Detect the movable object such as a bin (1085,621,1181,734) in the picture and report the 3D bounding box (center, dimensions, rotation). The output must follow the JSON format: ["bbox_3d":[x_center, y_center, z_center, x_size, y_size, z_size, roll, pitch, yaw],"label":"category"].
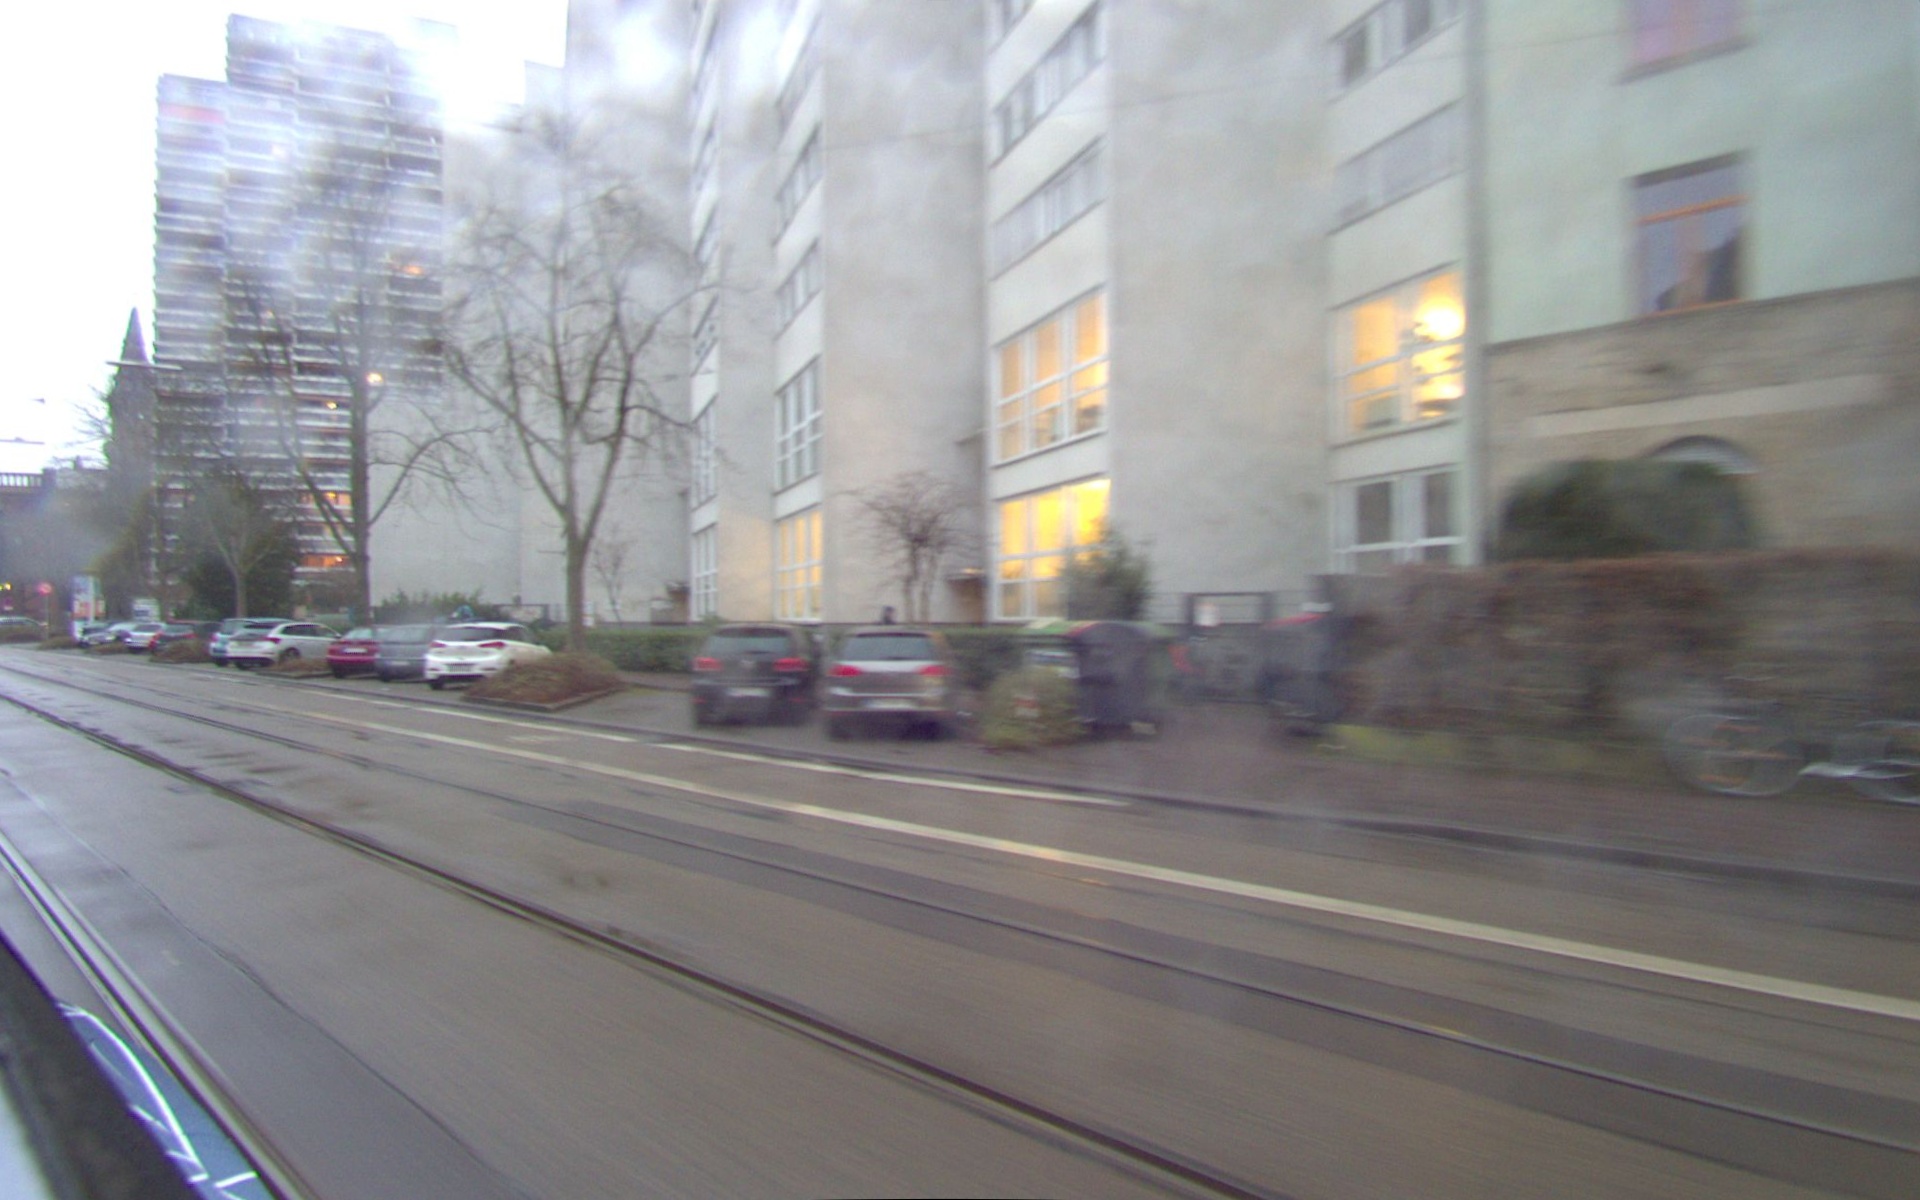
[{"bbox_3d":[2.378,1.028,13.816,1.103,1.461,1.085,-1,-2,20],"label":"movable object such as a bin"}]

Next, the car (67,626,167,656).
[{"bbox_3d":[-43.055,2.086,51.821,1.829,1.474,4.000,0,-2,-1],"label":"car"}]

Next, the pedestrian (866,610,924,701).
[{"bbox_3d":[-1.254,1.049,19.400,0.972,1.690,0.590,-2,-3,41],"label":"pedestrian"}]

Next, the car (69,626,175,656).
[{"bbox_3d":[-40.422,1.960,48.952,1.829,1.389,4.000,0,-2,-1],"label":"car"}]

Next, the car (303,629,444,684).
[{"bbox_3d":[-15.813,1.507,27.555,1.722,1.362,4.354,1,-2,-7],"label":"car"}]

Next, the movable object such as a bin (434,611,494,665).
[{"bbox_3d":[-17.785,1.367,36.289,1.317,1.874,1.553,-4,-4,42],"label":"movable object such as a bin"}]

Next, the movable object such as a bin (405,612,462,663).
[{"bbox_3d":[-19.859,1.424,38.181,1.317,1.874,1.553,-4,-4,42],"label":"movable object such as a bin"}]

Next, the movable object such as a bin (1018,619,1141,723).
[{"bbox_3d":[1.778,1.027,15.149,1.247,1.461,1.327,2,-3,-42],"label":"movable object such as a bin"}]

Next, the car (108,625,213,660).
[{"bbox_3d":[-35.531,1.891,45.111,1.765,1.457,4.004,0,-2,-5],"label":"car"}]

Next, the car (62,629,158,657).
[{"bbox_3d":[-45.317,2.301,54.084,1.829,1.410,4.000,0,-2,-1],"label":"car"}]

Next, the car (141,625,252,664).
[{"bbox_3d":[-30.636,1.784,40.755,1.671,1.504,3.856,0,-2,-3],"label":"car"}]

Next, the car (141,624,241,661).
[{"bbox_3d":[-33.049,1.817,43.615,1.705,1.504,3.451,0,-2,-1],"label":"car"}]

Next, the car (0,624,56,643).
[{"bbox_3d":[-75.697,2.681,81.776,3.939,1.497,1.673,2,-3,-43],"label":"car"}]

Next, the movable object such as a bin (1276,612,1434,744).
[{"bbox_3d":[4.742,0.895,12.166,1.247,1.461,1.327,2,-3,-42],"label":"movable object such as a bin"}]

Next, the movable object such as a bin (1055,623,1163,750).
[{"bbox_3d":[1.862,1.031,12.510,1.103,1.461,1.259,-1,-2,19],"label":"movable object such as a bin"}]

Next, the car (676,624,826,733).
[{"bbox_3d":[-3.137,1.133,15.924,1.804,1.482,4.003,0,-2,-4],"label":"car"}]

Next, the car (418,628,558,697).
[{"bbox_3d":[-10.757,1.396,23.356,1.710,1.434,3.856,0,-2,-5],"label":"car"}]

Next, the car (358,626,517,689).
[{"bbox_3d":[-13.340,1.437,26.111,1.715,1.474,3.992,1,-2,6],"label":"car"}]

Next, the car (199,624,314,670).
[{"bbox_3d":[-25.434,1.681,36.742,1.668,1.563,3.879,0,-2,-4],"label":"car"}]

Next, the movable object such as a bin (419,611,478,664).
[{"bbox_3d":[-18.818,1.382,37.249,1.393,1.874,1.553,-4,-4,42],"label":"movable object such as a bin"}]

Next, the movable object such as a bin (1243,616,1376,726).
[{"bbox_3d":[4.957,0.975,14.373,1.247,1.461,1.327,2,-3,-42],"label":"movable object such as a bin"}]

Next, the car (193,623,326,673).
[{"bbox_3d":[-23.155,1.577,33.651,1.712,1.575,4.000,0,-2,-1],"label":"car"}]

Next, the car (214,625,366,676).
[{"bbox_3d":[-20.740,1.556,31.541,1.716,1.455,3.990,1,-2,8],"label":"car"}]

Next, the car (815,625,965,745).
[{"bbox_3d":[-0.921,1.107,14.293,1.822,1.439,4.001,0,-2,-2],"label":"car"}]

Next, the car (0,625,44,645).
[{"bbox_3d":[-73.681,2.716,78.418,3.939,1.497,1.673,2,-3,-43],"label":"car"}]

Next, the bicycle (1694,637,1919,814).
[{"bbox_3d":[6.501,0.894,7.566,1.593,1.222,0.686,-2,-3,36],"label":"bicycle"}]
